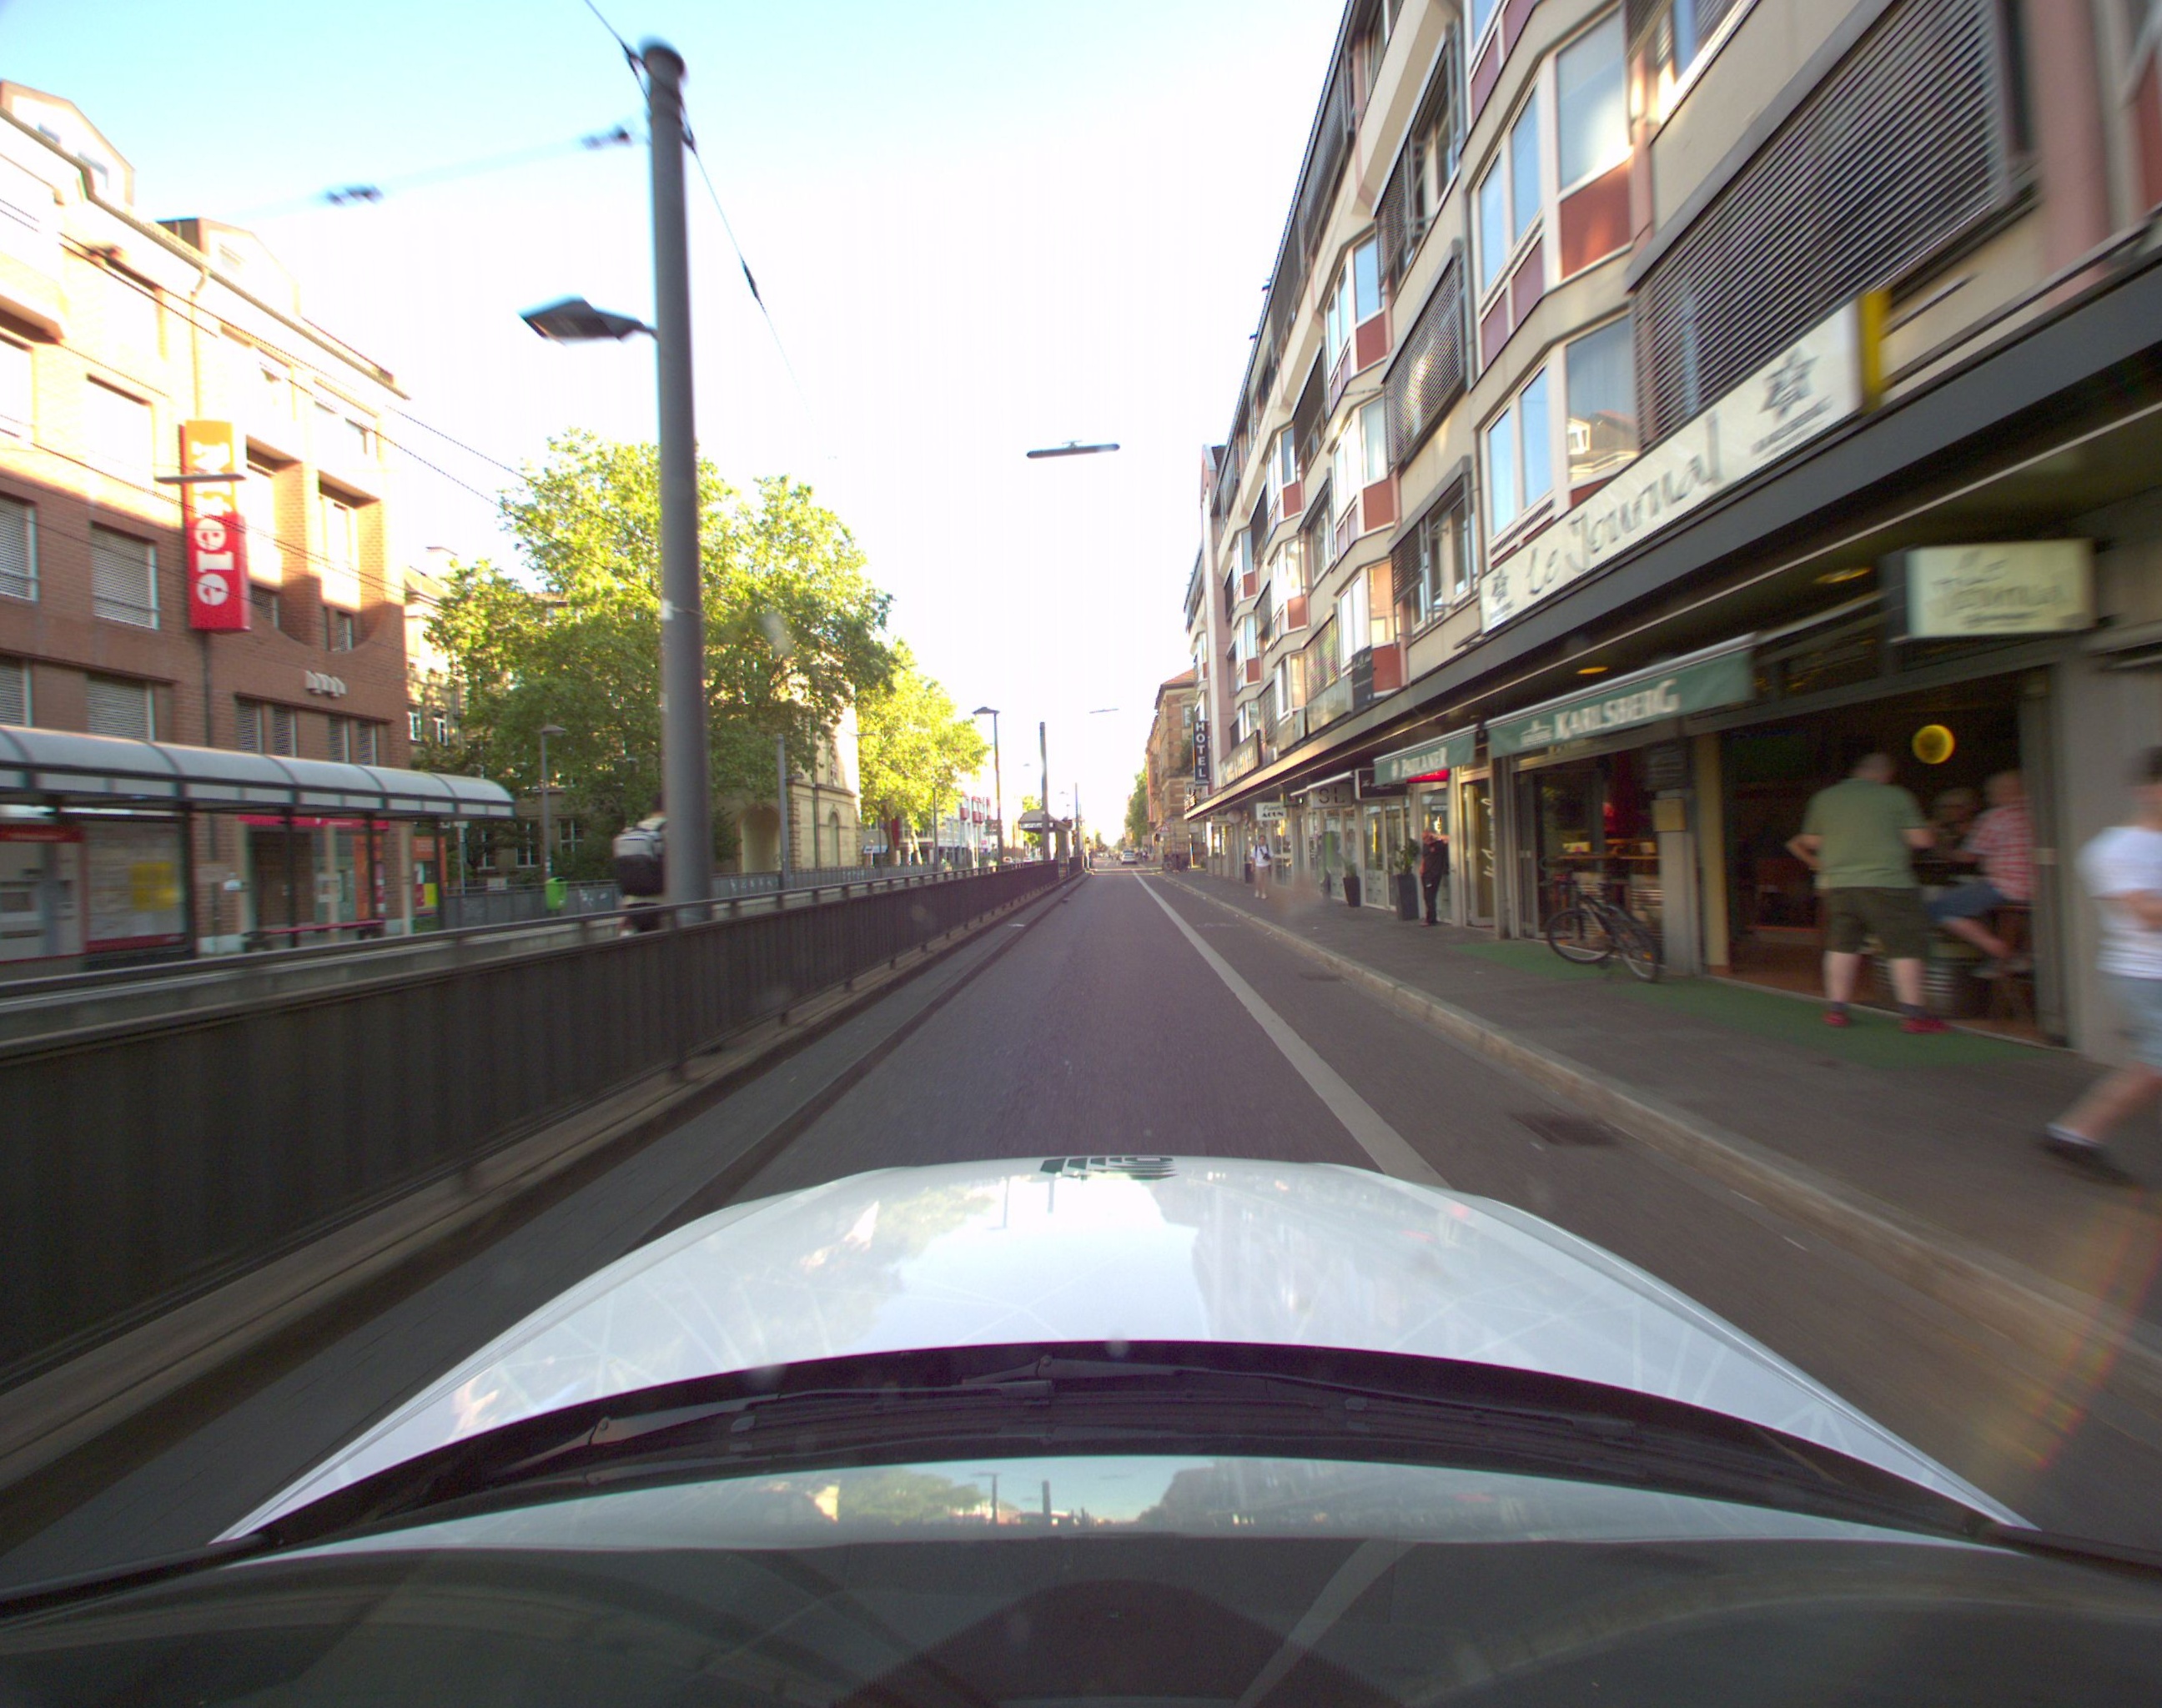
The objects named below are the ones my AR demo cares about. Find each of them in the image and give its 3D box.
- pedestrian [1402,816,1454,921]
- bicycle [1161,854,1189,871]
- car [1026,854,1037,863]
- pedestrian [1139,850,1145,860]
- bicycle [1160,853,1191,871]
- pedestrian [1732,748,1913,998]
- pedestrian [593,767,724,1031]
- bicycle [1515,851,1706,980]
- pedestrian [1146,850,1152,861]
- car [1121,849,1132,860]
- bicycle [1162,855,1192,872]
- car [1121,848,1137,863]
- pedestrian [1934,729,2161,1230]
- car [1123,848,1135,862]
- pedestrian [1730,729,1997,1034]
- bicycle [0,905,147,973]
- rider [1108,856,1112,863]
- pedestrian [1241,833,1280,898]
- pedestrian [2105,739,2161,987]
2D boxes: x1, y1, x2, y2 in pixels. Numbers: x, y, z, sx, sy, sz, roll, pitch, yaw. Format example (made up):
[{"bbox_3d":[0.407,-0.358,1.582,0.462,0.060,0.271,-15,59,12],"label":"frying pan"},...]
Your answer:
[{"bbox_3d":[5.681,0.231,13.351,0.540,1.673,0.468,-3,-1,-7],"label":"pedestrian"},{"bbox_3d":[6.352,0.573,55.158,1.828,1.054,0.718,-2,0,-1],"label":"bicycle"},{"bbox_3d":[-9.945,0.872,162.749,1.863,1.600,4.253,-2,0,0],"label":"car"},{"bbox_3d":[9.851,0.217,130.769,0.772,1.567,0.914,-5,0,3],"label":"pedestrian"},{"bbox_3d":[6.330,0.551,54.429,1.964,1.104,0.614,-2,0,-1],"label":"bicycle"},{"bbox_3d":[5.941,0.135,6.552,0.779,1.866,0.683,-4,-1,-18],"label":"pedestrian"},{"bbox_3d":[-3.035,0.308,5.892,0.581,1.791,0.606,-2,-1,0],"label":"pedestrian"},{"bbox_3d":[5.144,0.546,8.079,0.655,1.067,1.795,-6,0,2],"label":"bicycle"},{"bbox_3d":[10.851,0.224,130.693,0.772,1.567,0.914,-5,0,3],"label":"pedestrian"},{"bbox_3d":[9.060,0.034,162.044,1.963,2.014,4.562,-3,0,3],"label":"car"},{"bbox_3d":[6.324,0.639,53.771,1.907,1.047,0.681,-2,0,-1],"label":"bicycle"},{"bbox_3d":[6.114,0.185,104.180,1.958,1.771,4.879,-1,0,3],"label":"car"},{"bbox_3d":[3.905,0.410,2.996,0.630,1.673,0.771,-3,-1,2],"label":"pedestrian"},{"bbox_3d":[7.477,0.226,127.023,1.697,2.120,3.711,-1,-1,5],"label":"car"},{"bbox_3d":[5.311,0.175,5.591,0.912,1.866,0.779,-5,-1,-1],"label":"pedestrian"},{"bbox_3d":[-21.037,1.744,16.941,2.593,1.282,0.842,0,0,9],"label":"bicycle"},{"bbox_3d":[6.925,1.281,193.412,0.880,1.481,0.713,0,0,3],"label":"rider"},{"bbox_3d":[5.051,0.325,23.006,0.794,1.722,1.062,-5,-1,3],"label":"pedestrian"},{"bbox_3d":[8.484,0.046,6.001,0.773,1.866,0.750,-4,-1,5],"label":"pedestrian"}]
